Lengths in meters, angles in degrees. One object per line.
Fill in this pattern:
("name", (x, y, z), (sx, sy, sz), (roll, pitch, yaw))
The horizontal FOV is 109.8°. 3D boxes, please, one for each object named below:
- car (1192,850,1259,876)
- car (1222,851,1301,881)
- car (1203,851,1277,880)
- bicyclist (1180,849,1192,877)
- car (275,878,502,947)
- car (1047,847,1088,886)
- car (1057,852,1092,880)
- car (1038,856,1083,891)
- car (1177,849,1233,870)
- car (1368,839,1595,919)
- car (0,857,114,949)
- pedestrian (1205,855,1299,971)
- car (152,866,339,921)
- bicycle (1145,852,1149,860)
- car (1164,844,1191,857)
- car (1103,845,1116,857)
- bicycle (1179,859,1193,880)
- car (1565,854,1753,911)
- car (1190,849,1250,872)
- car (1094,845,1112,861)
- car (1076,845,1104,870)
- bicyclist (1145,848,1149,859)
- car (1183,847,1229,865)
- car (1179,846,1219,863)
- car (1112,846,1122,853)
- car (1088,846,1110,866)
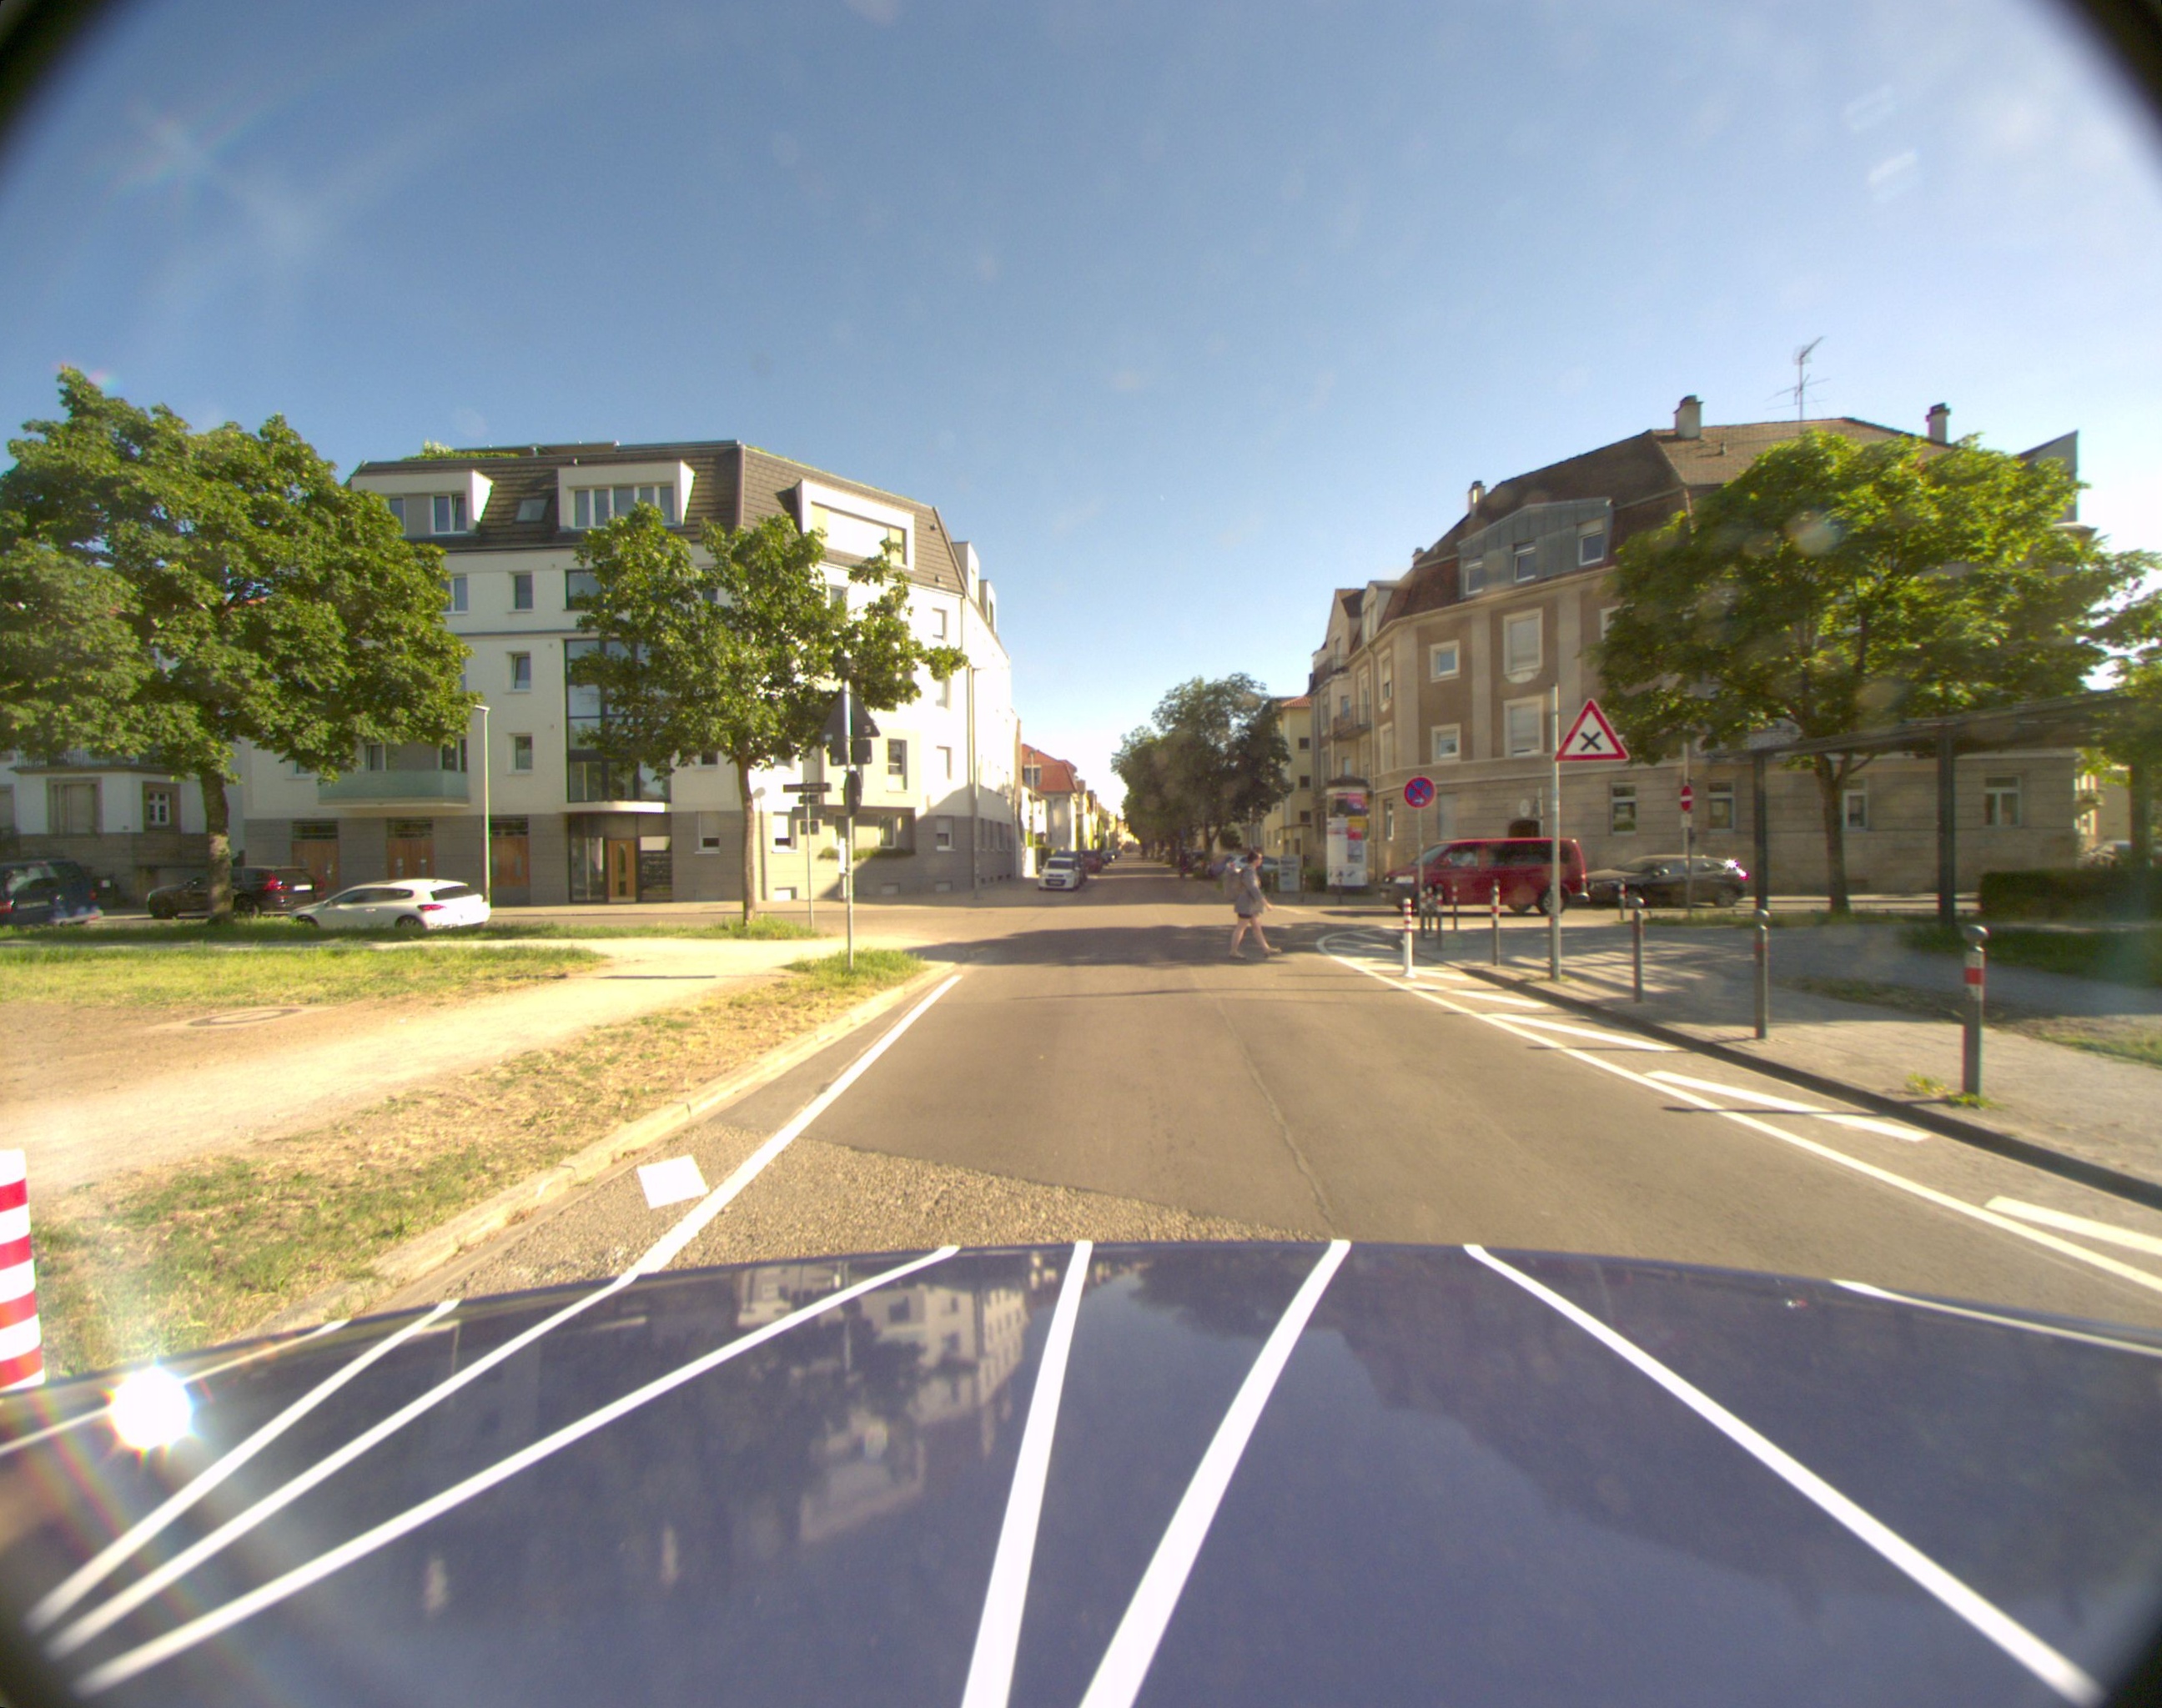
("car", (9.079, 0.568, 47.819), (3.791, 1.486, 1.691), (-2, 1, -9))
("car", (9.564, 0.642, 40.464), (3.788, 1.436, 1.692), (-2, 1, 1))
("car", (8.899, 0.620, 42.694), (3.788, 1.486, 1.692), (-2, 1, 1))
("bicyclist", (5.979, 0.503, 43.359), (0.644, 1.610, 0.637), (-1, 1, 5))
("car", (-16.906, 1.410, 18.672), (3.990, 1.426, 1.739), (-1, 5, 4))
("car", (-0.656, 0.594, 39.549), (1.664, 1.825, 4.257), (2, 1, 4))
("car", (-0.359, 0.675, 44.948), (1.664, 1.533, 4.067), (2, 1, 4))
("car", (-0.885, 0.868, 35.092), (1.664, 1.440, 3.689), (2, 1, 4))
("car", (9.321, 0.408, 57.050), (3.791, 1.486, 1.691), (-2, 1, -9))
("car", (10.320, 0.617, 19.897), (4.881, 1.950, 1.897), (0, 2, 4))
("car", (-27.499, 1.190, 19.172), (3.989, 2.073, 1.783), (-1, 5, 5))
("pedestrian", (2.582, 0.859, 11.548), (1.091, 1.664, 0.912), (0, 1, -13))
("car", (-27.649, 1.286, 25.231), (4.284, 1.673, 1.896), (-1, 2, 5))
("bicycle", (9.608, 0.294, 110.694), (0.644, 1.102, 2.066), (-1, 1, 5))
("car", (13.381, -0.459, 105.289), (3.527, 1.693, 1.692), (-2, 1, 2))
("car", (4.410, -0.470, 117.150), (1.883, 1.734, 4.403), (0, 0, 4))
("bicycle", (5.985, 0.877, 43.385), (0.644, 1.102, 2.066), (-1, 1, 5))
("car", (16.811, 0.806, 22.268), (4.011, 1.476, 1.867), (-1, 4, 1))
("car", (9.840, 0.442, 53.983), (3.791, 1.486, 1.691), (-2, 1, -9))
("car", (2.653, -0.072, 90.809), (1.883, 1.860, 4.403), (0, 0, 4))
("car", (0.741, 0.285, 61.301), (1.883, 1.860, 4.402), (2, 1, 4))
("bicyclist", (9.601, -0.103, 110.614), (0.644, 1.557, 1.043), (-1, 1, 5))
("car", (11.269, 0.136, 68.593), (3.789, 1.486, 1.692), (-2, 1, -1))
("car", (11.344, 0.046, 72.954), (3.528, 1.486, 1.692), (-2, 1, -1))
("car", (7.978, -1.037, 168.076), (1.883, 1.427, 4.348), (-1, 0, 4))
("car", (1.810, 0.164, 75.388), (1.883, 1.860, 4.402), (2, 1, 4))
